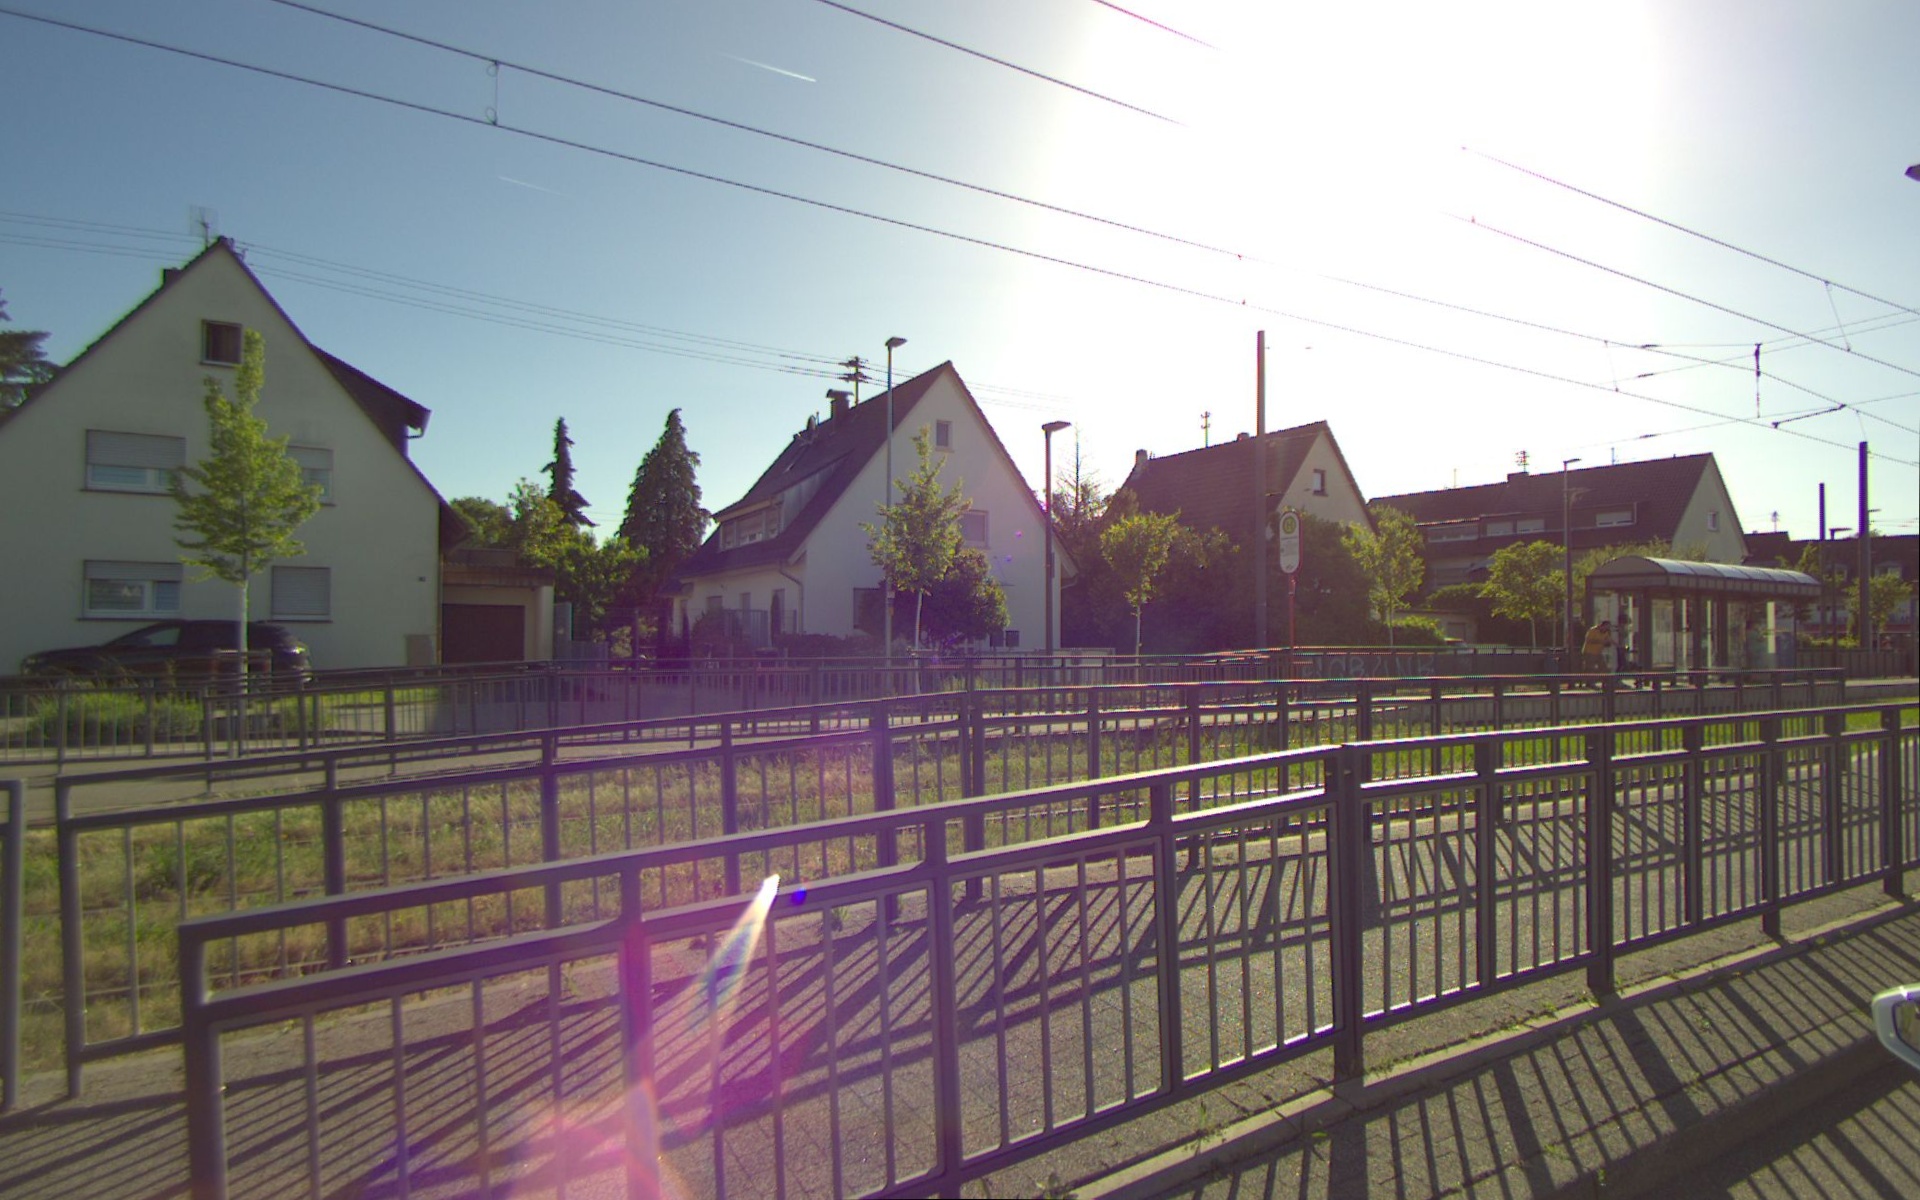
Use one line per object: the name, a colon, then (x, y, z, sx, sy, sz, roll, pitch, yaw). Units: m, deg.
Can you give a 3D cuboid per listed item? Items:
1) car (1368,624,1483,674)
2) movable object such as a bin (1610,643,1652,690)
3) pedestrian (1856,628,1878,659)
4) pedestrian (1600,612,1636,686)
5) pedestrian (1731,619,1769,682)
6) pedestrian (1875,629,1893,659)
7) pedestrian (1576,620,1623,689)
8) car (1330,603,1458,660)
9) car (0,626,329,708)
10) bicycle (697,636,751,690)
car: (18.644, 1.933, 40.372, 1.783, 1.830, 3.816, 2, -1, -37)
movable object such as a bin: (15.022, 1.479, 22.491, 0.734, 1.001, 0.543, 1, -2, -34)
pedestrian: (52.347, 2.524, 57.981, 0.763, 1.785, 0.725, 1, -2, -32)
pedestrian: (15.727, 1.167, 24.002, 0.575, 1.731, 0.516, 1, -2, -34)
pedestrian: (21.752, 1.398, 27.669, 0.762, 1.718, 0.498, 1, -4, -30)
pedestrian: (53.873, 2.573, 58.578, 0.682, 1.755, 0.590, 1, -2, -32)
pedestrian: (14.621, 1.236, 22.968, 0.741, 1.556, 0.671, 1, -2, -34)
car: (16.158, 1.138, 37.557, 1.915, 1.996, 3.958, 2, -1, -37)
car: (-15.629, 1.286, 19.959, 5.102, 1.469, 1.925, 2, -2, -30)
bicycle: (-6.406, 1.682, 27.163, 0.698, 1.383, 1.975, 2, -2, -36)
